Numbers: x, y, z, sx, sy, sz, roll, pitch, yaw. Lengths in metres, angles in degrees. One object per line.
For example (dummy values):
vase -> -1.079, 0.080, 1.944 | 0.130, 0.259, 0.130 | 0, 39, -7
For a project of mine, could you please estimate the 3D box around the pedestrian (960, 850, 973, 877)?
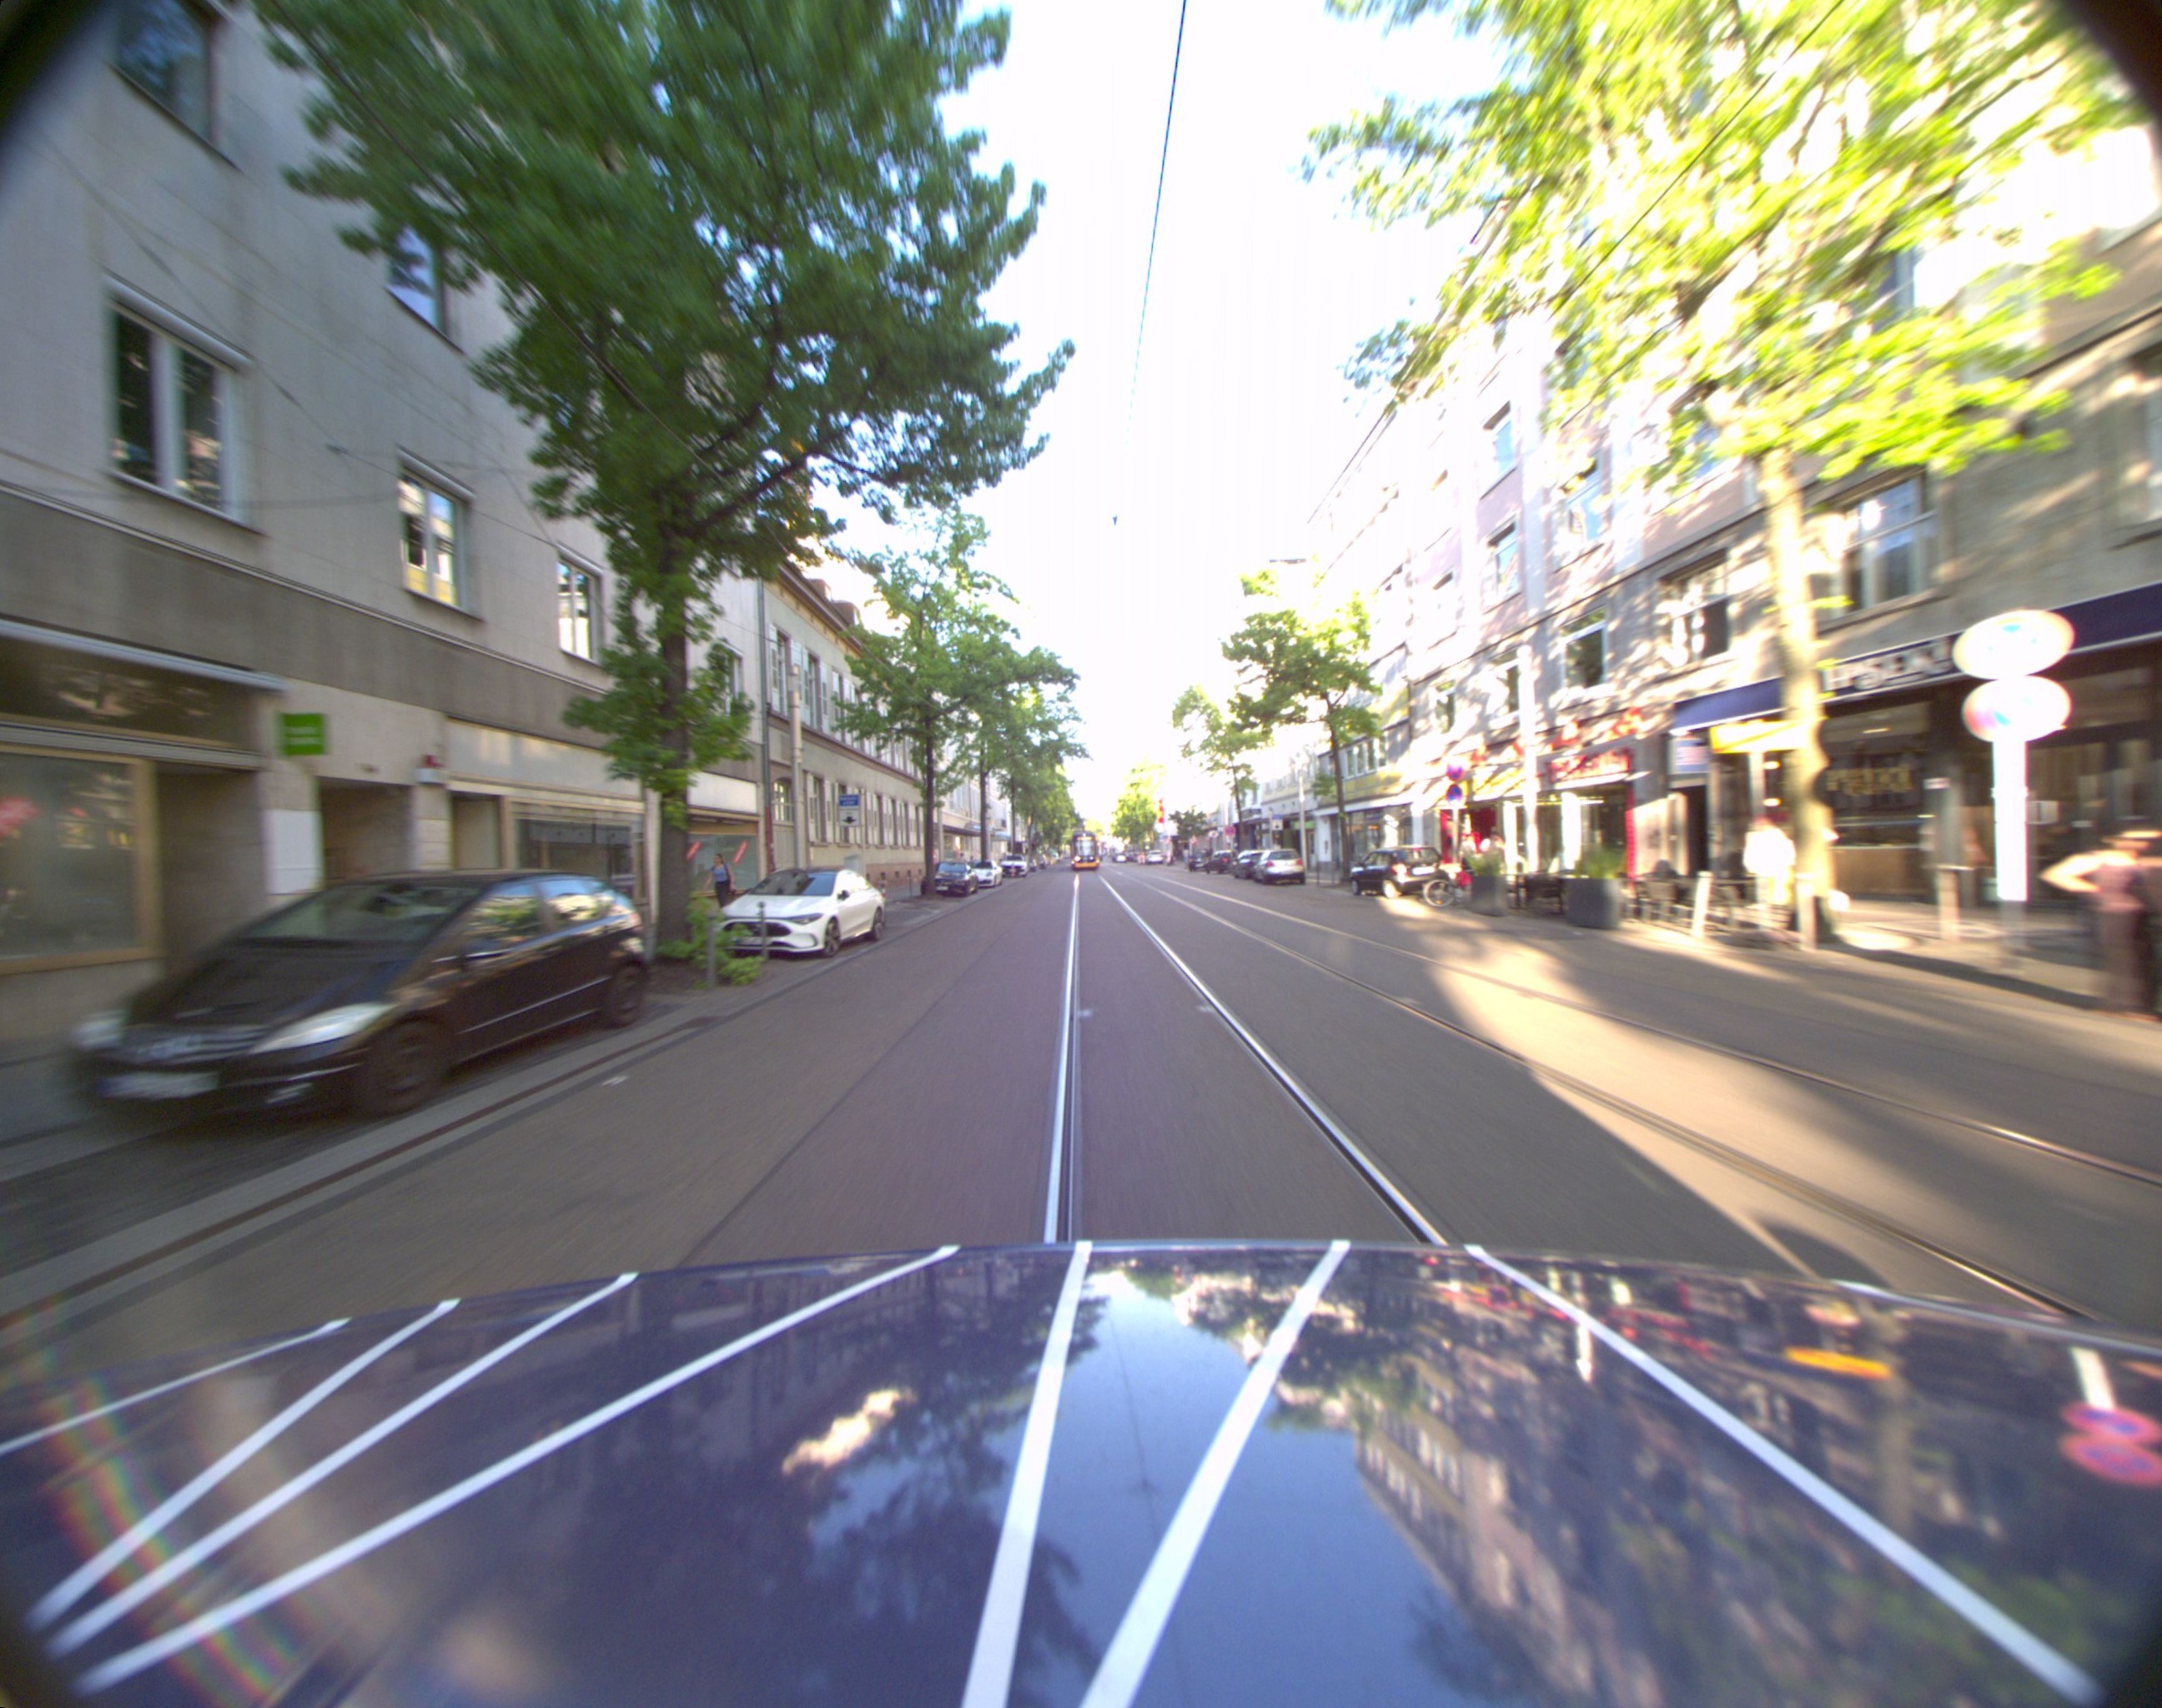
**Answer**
pedestrian -> -8.153, 0.666, 54.019 | 0.715, 1.876, 1.053 | 0, 1, 0

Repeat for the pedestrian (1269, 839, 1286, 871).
pedestrian -> 11.357, 0.044, 43.919 | 0.661, 1.815, 0.878 | -5, 1, 0

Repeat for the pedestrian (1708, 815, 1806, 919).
pedestrian -> 11.908, 0.219, 13.421 | 0.724, 1.750, 1.090 | -2, 1, 0

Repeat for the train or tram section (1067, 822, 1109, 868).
train or tram section -> 0.616, -0.758, 75.253 | 3.607, 3.974, 15.715 | -2, 0, 0

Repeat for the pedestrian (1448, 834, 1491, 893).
pedestrian -> 11.293, 0.272, 22.101 | 0.846, 1.683, 0.740 | -2, 1, -1

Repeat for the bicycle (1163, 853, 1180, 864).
bicycle -> 9.856, 0.473, 82.778 | 1.748, 0.986, 0.478 | -5, 0, 7

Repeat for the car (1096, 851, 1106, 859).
car -> 4.024, 0.187, 153.603 | 1.783, 1.399, 4.527 | -2, 0, 0

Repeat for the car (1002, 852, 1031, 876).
car -> -4.882, 0.750, 58.188 | 2.003, 1.678, 4.965 | 0, 1, -3

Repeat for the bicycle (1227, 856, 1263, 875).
bicycle -> 9.328, 0.658, 43.215 | 1.975, 0.995, 0.330 | -2, 1, 3

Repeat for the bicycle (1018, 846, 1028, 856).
bicycle -> -6.390, -0.329, 83.237 | 0.656, 1.064, 1.671 | 0, 0, -19

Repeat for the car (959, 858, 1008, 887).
car -> -5.064, 0.923, 39.948 | 1.917, 1.412, 4.887 | 1, 0, 0

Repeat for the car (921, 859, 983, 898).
car -> -5.289, 0.962, 31.649 | 1.837, 1.469, 4.761 | 0, 0, -1

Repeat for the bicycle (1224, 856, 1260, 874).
bicycle -> 9.510, 0.630, 44.907 | 1.975, 0.995, 0.330 | -2, 1, 3

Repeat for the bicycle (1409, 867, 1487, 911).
bicycle -> 8.887, 0.841, 18.427 | 1.619, 0.960, 0.433 | -4, 0, 5

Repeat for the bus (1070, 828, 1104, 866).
bus -> 0.670, -0.748, 91.846 | 3.616, 3.974, 17.482 | -2, 0, 0

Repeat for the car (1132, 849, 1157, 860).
car -> 10.174, 0.082, 121.795 | 3.403, 1.551, 1.786 | -5, 2, -22

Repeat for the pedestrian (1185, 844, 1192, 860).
pedestrian -> 11.788, -0.197, 83.490 | 0.643, 1.703, 0.829 | -3, 1, 4

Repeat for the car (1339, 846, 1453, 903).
car -> 9.209, 0.548, 22.532 | 1.670, 1.420, 3.827 | -5, 0, 0

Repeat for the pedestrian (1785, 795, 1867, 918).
pedestrian -> 12.606, 0.039, 12.867 | 0.724, 2.002, 0.642 | -2, 1, 0

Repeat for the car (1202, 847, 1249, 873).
car -> 9.317, 0.379, 49.269 | 1.797, 1.481, 4.240 | -4, 1, -6

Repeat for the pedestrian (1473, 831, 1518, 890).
pedestrian -> 12.269, 0.188, 22.520 | 0.791, 1.683, 0.913 | -2, 1, -1

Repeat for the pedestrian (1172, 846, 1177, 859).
pedestrian -> 14.181, -0.250, 115.547 | 0.616, 2.002, 0.592 | -2, 0, -1

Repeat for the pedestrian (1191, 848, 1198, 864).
pedestrian -> 12.607, 0.247, 84.629 | 0.628, 1.703, 0.807 | -3, 1, 4

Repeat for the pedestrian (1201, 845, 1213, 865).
pedestrian -> 11.587, 0.072, 69.823 | 0.853, 1.756, 0.832 | -2, 0, -3

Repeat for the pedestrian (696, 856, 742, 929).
pedestrian -> -8.497, 0.888, 17.854 | 0.659, 1.655, 0.888 | 1, 1, -1

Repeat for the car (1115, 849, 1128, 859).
car -> 6.567, -0.055, 122.358 | 1.889, 1.602, 4.200 | 0, 0, 0

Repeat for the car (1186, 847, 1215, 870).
car -> 9.070, 0.326, 57.441 | 1.632, 1.606, 3.712 | -4, 0, 15

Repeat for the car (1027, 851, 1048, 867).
car -> -5.097, 0.598, 89.867 | 1.956, 1.782, 4.316 | -2, 0, 3

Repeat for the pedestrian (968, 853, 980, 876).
pedestrian -> -7.309, 0.702, 51.778 | 0.650, 1.564, 0.798 | -2, 1, 0

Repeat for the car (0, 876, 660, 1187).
car -> -5.404, 1.053, 6.195 | 1.781, 1.582, 3.891 | 2, 0, -1

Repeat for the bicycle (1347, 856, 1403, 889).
bicycle -> 10.325, 0.628, 26.668 | 1.815, 1.059, 0.440 | -3, 1, -8

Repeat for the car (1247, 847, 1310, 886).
car -> 8.536, 0.489, 33.126 | 1.771, 1.488, 4.175 | -2, 1, 3

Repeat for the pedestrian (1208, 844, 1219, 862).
pedestrian -> 12.921, -0.062, 74.062 | 0.834, 1.685, 1.037 | -4, 1, 0

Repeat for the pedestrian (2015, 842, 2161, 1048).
pedestrian -> 8.082, 0.666, 5.951 | 0.621, 1.501, 0.729 | -1, 2, 1

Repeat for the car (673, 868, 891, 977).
car -> -5.026, 1.056, 13.621 | 1.998, 1.489, 4.679 | 1, 0, 1

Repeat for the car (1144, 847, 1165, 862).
car -> 9.109, 0.091, 94.145 | 1.999, 1.744, 4.744 | -4, 0, 0

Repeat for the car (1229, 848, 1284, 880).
car -> 9.031, 0.468, 39.444 | 1.716, 1.452, 4.485 | -3, 0, 0
